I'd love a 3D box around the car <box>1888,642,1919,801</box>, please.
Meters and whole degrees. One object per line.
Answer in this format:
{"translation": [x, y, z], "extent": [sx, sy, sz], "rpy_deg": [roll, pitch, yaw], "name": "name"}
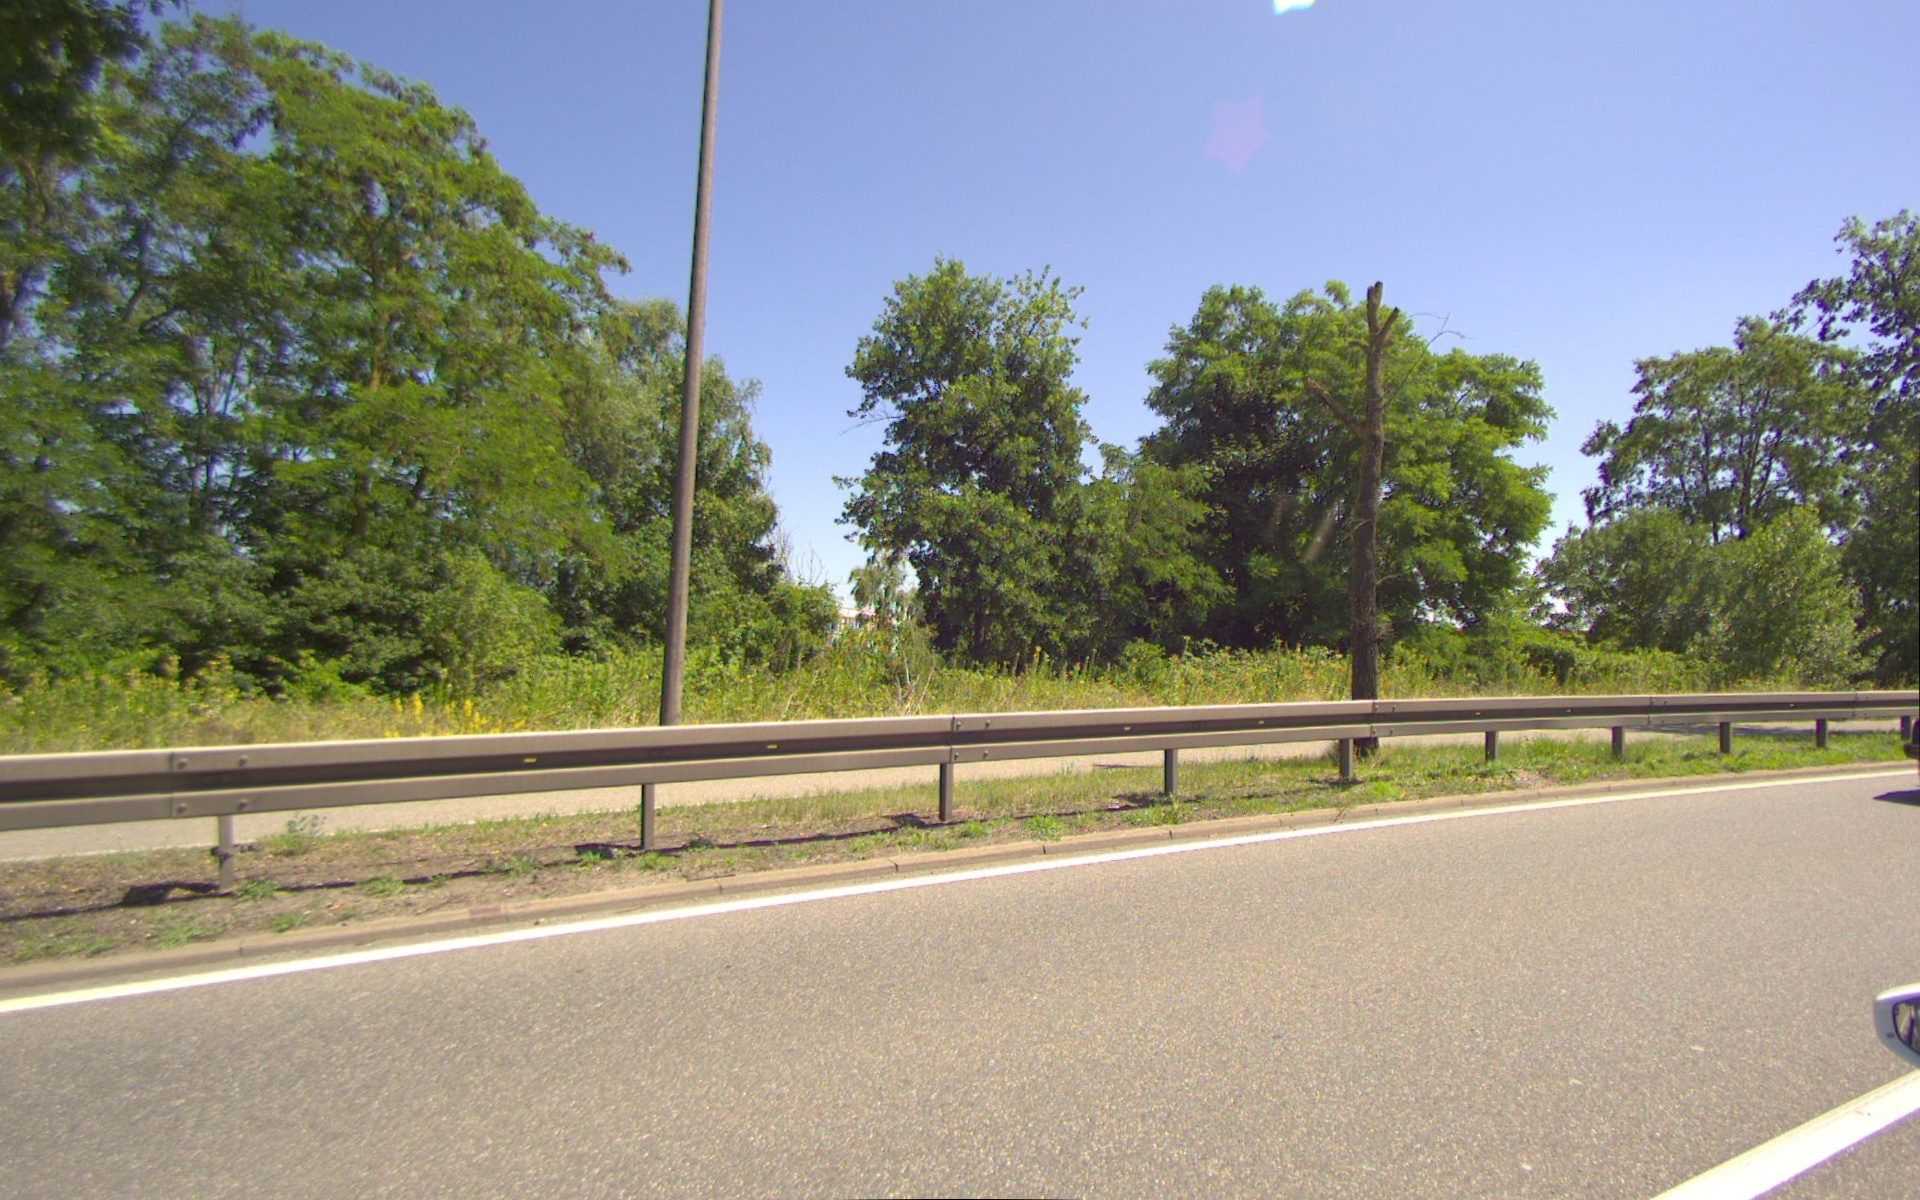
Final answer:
{"translation": [10.394, 1.121, 9.081], "extent": [3.834, 1.390, 1.552], "rpy_deg": [2, -1, -24], "name": "car"}
